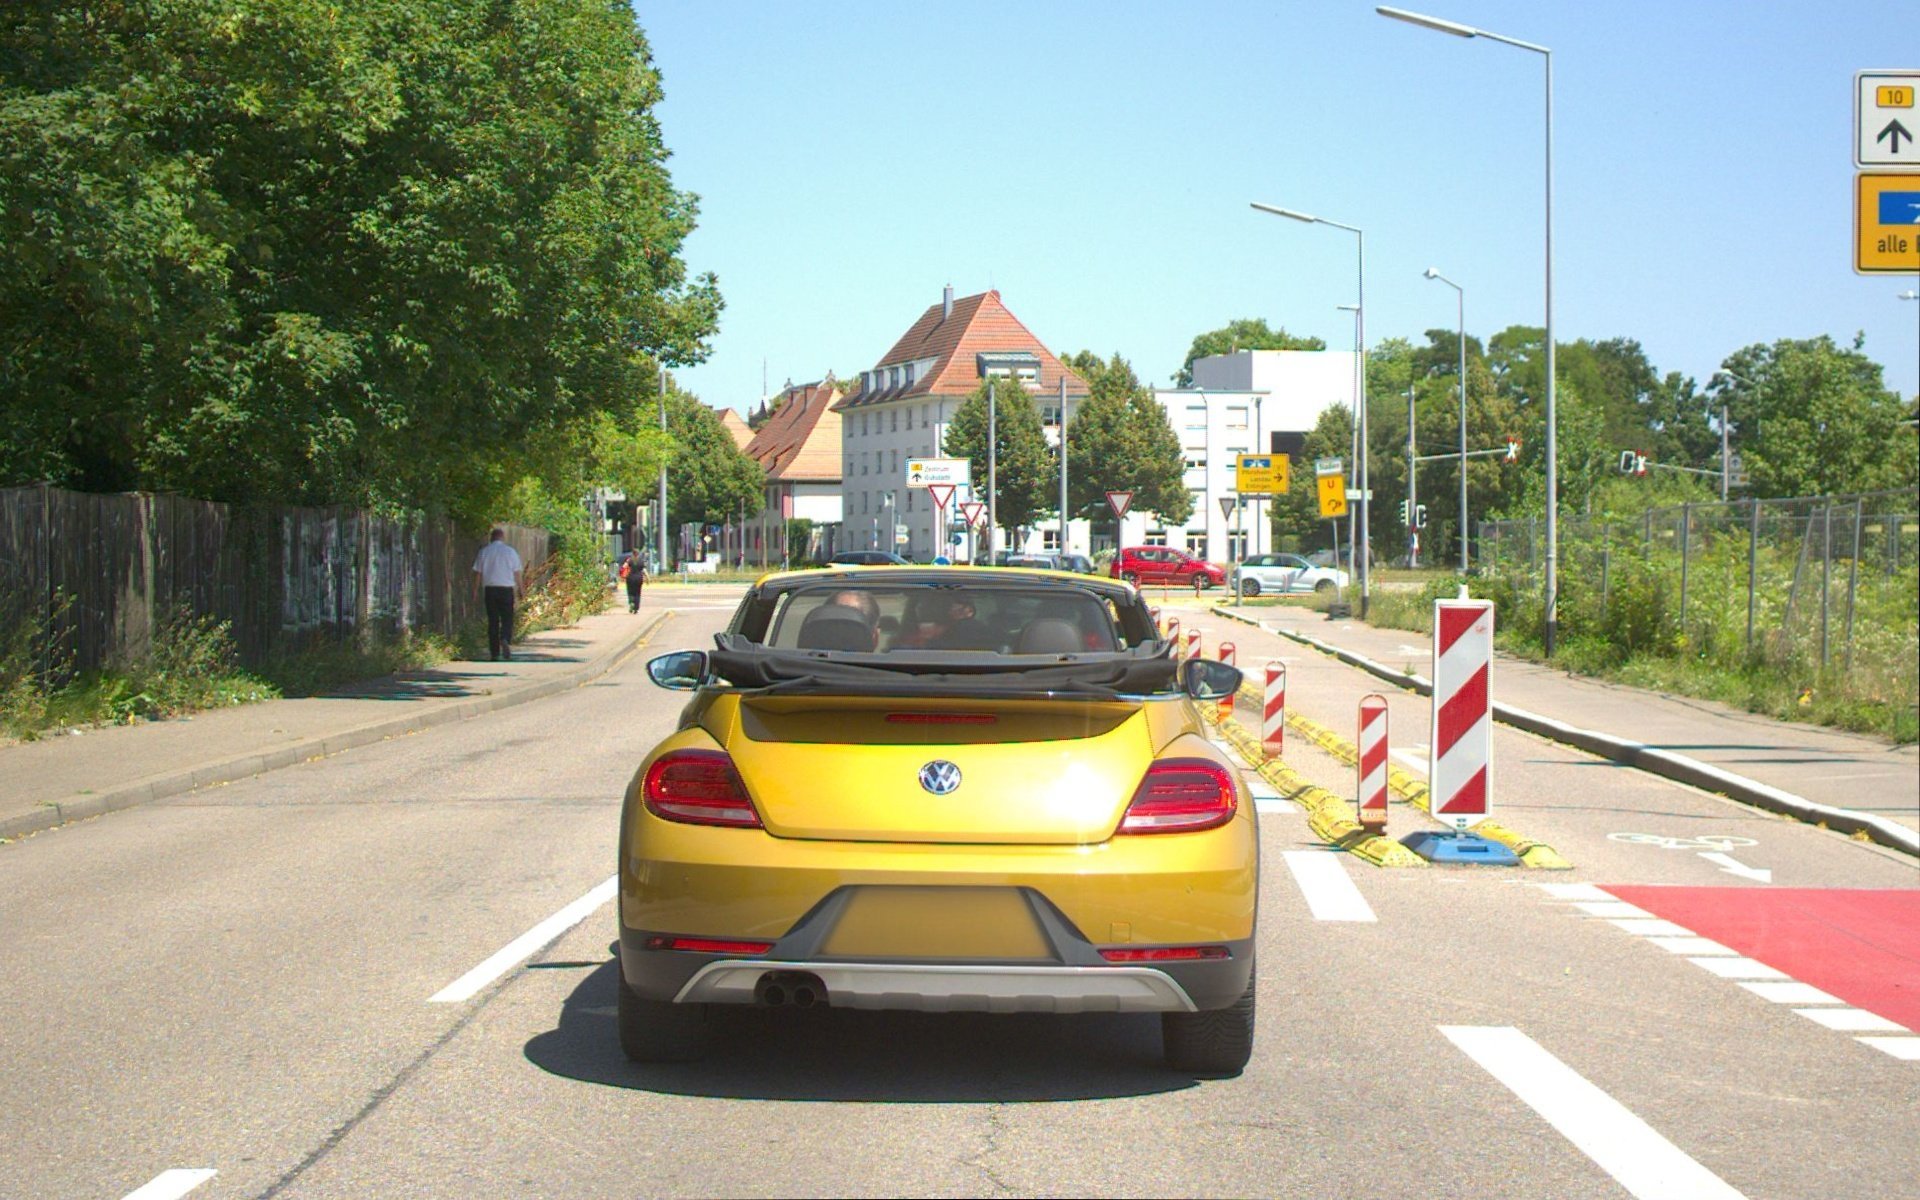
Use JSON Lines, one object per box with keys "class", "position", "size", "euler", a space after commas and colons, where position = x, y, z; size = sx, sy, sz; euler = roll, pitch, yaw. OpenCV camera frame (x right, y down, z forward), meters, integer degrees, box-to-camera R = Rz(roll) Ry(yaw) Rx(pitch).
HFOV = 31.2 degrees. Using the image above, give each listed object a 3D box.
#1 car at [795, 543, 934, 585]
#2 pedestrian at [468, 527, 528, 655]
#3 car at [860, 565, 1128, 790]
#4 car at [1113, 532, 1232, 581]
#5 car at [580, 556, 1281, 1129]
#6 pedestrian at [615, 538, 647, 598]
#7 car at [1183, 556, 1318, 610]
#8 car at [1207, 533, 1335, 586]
{"class": "car", "position": [-3.162, -1.213, 114.534], "size": [4.441, 1.353, 1.537], "euler": [0, 1, 7]}
{"class": "pedestrian", "position": [-6.269, -0.123, 46.711], "size": [0.722, 1.719, 0.818], "euler": [0, 1, -3]}
{"class": "car", "position": [0.276, 0.484, 24.274], "size": [1.727, 1.438, 4.000], "euler": [0, 1, 2]}
{"class": "car", "position": [7.456, -1.534, 120.538], "size": [4.065, 1.671, 1.784], "euler": [0, 1, 7]}
{"class": "car", "position": [-0.079, 0.600, 10.733], "size": [1.790, 1.432, 3.814], "euler": [0, 1, 0]}
{"class": "pedestrian", "position": [-8.109, -0.790, 84.704], "size": [0.722, 1.449, 0.818], "euler": [0, 1, -3]}
{"class": "car", "position": [9.065, -0.528, 107.206], "size": [3.989, 1.607, 1.790], "euler": [0, 1, 12]}
{"class": "car", "position": [10.178, -1.319, 112.336], "size": [4.065, 1.671, 1.784], "euler": [0, 1, 9]}
